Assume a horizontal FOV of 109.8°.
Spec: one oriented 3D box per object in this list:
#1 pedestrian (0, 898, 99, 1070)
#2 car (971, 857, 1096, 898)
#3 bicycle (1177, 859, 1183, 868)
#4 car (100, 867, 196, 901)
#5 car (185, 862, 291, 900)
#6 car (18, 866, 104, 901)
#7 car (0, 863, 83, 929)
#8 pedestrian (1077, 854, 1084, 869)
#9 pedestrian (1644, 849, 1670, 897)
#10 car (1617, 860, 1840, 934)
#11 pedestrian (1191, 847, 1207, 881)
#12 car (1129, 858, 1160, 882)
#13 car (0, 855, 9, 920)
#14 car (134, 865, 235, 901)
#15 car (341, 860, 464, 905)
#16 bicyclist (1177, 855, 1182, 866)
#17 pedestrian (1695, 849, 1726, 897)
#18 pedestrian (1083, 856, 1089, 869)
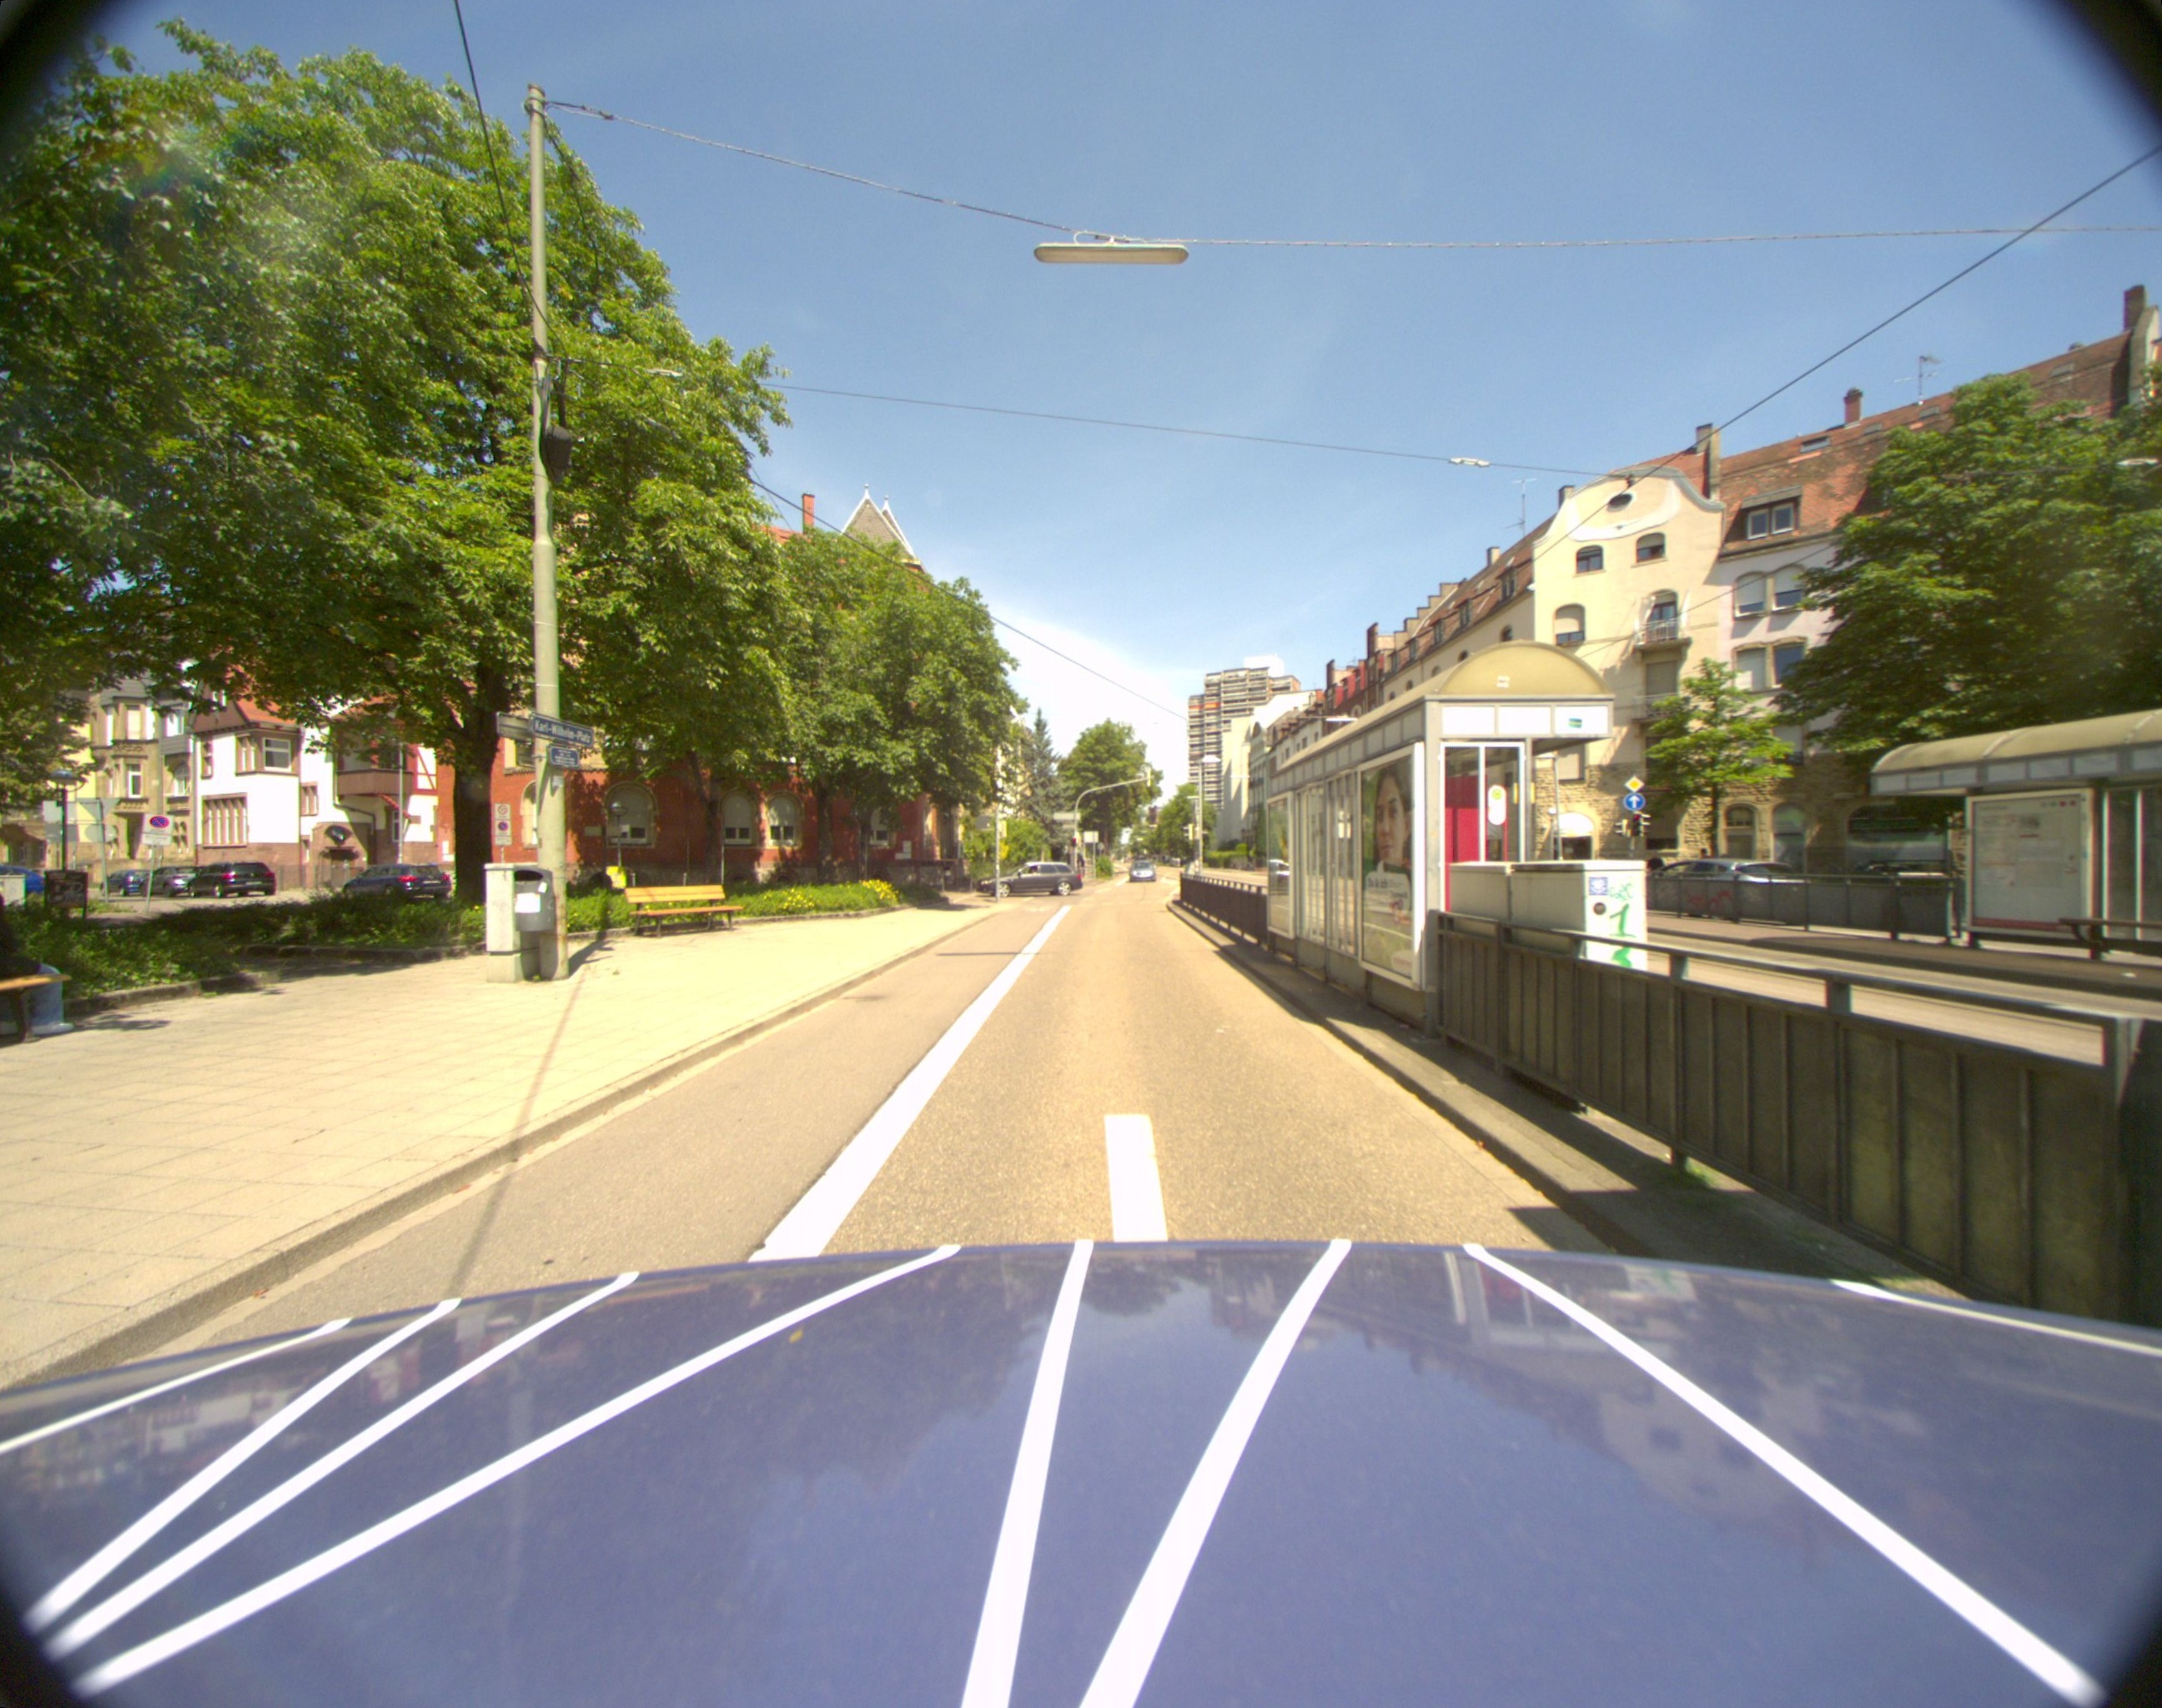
[{"bbox_3d":[-7.748,0.908,5.430,0.566,1.136,0.725,0,1,-16],"label":"pedestrian"},{"bbox_3d":[-2.084,0.988,32.765,5.038,1.474,1.935,-2,1,-16],"label":"car"},{"bbox_3d":[16.460,1.585,126.335,0.644,1.503,1.970,-2,1,-2],"label":"bicycle"},{"bbox_3d":[-48.428,1.567,39.447,4.299,1.608,1.941,-2,1,23],"label":"car"},{"bbox_3d":[-39.594,1.271,35.679,4.299,1.608,1.941,-2,1,23],"label":"car"},{"bbox_3d":[-59.183,1.704,44.092,4.299,1.862,1.941,-2,1,23],"label":"car"},{"bbox_3d":[-32.849,1.297,22.040,1.934,1.869,4.315,-2,1,23],"label":"car"},{"bbox_3d":[-0.055,0.851,86.952,0.702,1.645,0.665,0,0,1],"label":"pedestrian"},{"bbox_3d":[19.834,0.650,26.148,0.593,1.637,0.474,0,0,19],"label":"pedestrian"},{"bbox_3d":[14.833,0.908,17.739,1.812,1.386,3.999,-2,1,1],"label":"car"},{"bbox_3d":[6.451,0.540,41.608,0.838,1.813,0.674,0,0,4],"label":"pedestrian"},{"bbox_3d":[4.282,1.049,51.170,1.895,1.372,4.001,-2,1,5],"label":"car"},{"bbox_3d":[-37.665,1.196,23.808,1.934,2.178,4.315,-2,1,23],"label":"car"},{"bbox_3d":[-44.154,1.426,37.425,4.299,1.608,1.941,-2,1,23],"label":"car"},{"bbox_3d":[-27.048,1.130,30.300,4.299,1.608,1.941,-2,1,23],"label":"car"},{"bbox_3d":[16.431,1.088,126.318,0.644,1.864,0.716,-2,1,-2],"label":"bicyclist"},{"bbox_3d":[20.430,0.625,24.656,0.594,1.542,0.474,0,0,-1],"label":"pedestrian"},{"bbox_3d":[0.718,1.220,107.832,0.686,1.732,0.660,-2,1,3],"label":"pedestrian"}]
